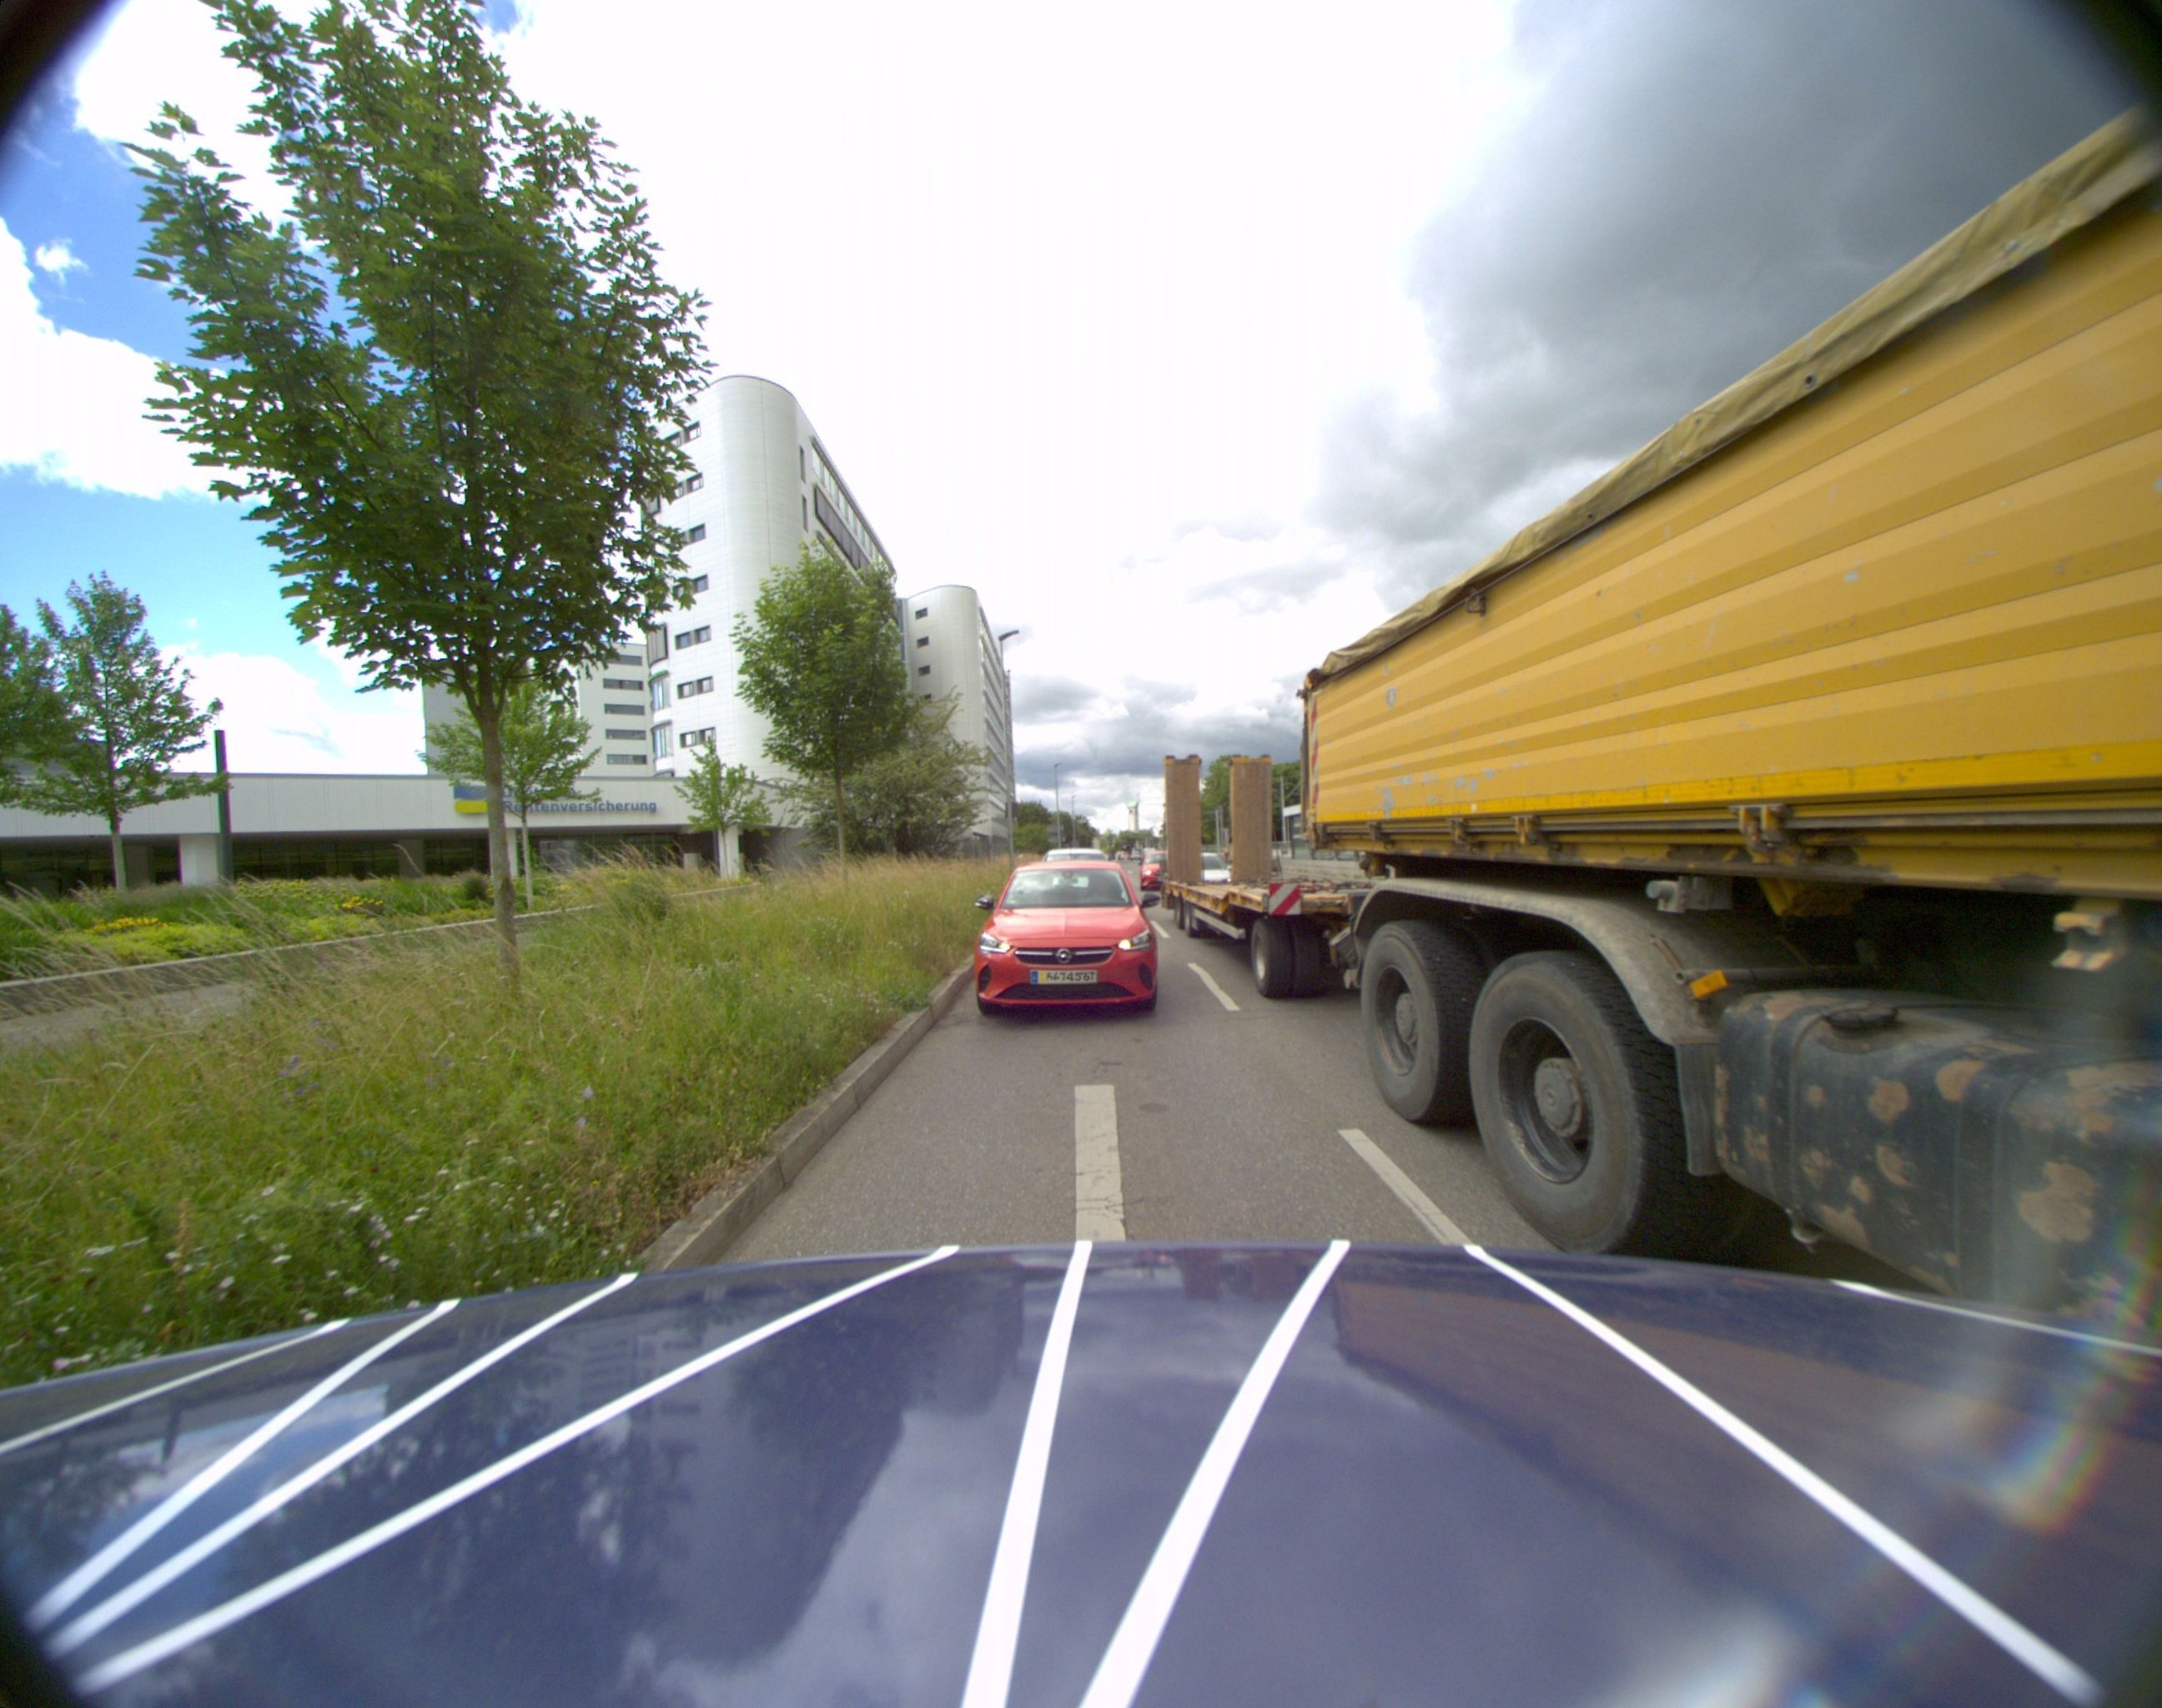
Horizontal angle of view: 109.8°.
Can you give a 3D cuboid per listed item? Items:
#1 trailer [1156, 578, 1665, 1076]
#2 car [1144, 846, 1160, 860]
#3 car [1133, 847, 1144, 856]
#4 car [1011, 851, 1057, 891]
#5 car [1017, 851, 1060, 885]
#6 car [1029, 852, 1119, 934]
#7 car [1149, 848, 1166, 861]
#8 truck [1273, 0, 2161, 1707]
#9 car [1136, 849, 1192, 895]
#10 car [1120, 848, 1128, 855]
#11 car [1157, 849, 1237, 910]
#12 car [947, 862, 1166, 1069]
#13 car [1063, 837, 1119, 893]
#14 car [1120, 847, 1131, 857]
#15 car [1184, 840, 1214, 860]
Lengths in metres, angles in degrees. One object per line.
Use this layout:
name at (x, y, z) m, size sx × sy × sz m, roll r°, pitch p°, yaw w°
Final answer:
trailer at (2.925, -0.228, 10.964) m, size 2.713 × 3.501 × 10.914 m, roll -2°, pitch 1°, yaw 1°
car at (9.764, -0.172, 104.690) m, size 1.887 × 1.761 × 4.863 m, roll -2°, pitch 0°, yaw 1°
car at (9.699, -0.458, 128.684) m, size 1.644 × 1.489 × 3.553 m, roll -2°, pitch 0°, yaw 1°
car at (-1.990, 0.704, 33.083) m, size 1.738 × 1.565 × 3.445 m, roll -2°, pitch 0°, yaw 0°
car at (-2.064, 0.645, 37.981) m, size 1.850 × 1.565 × 4.623 m, roll -2°, pitch 0°, yaw 0°
car at (-0.134, 0.778, 16.984) m, size 1.738 × 1.565 × 3.445 m, roll -2°, pitch 0°, yaw 0°
car at (9.273, 0.043, 91.882) m, size 1.705 × 1.449 × 3.566 m, roll -2°, pitch 0°, yaw 1°
truck at (2.740, 0.139, 1.640) m, size 2.727 × 2.986 × 7.777 m, roll -2°, pitch 1°, yaw 1°
car at (3.081, 0.628, 28.758) m, size 1.692 × 1.471 × 3.999 m, roll -2°, pitch 1°, yaw 1°
car at (10.142, -0.533, 180.528) m, size 1.770 × 1.489 × 3.553 m, roll -2°, pitch 0°, yaw 1°
car at (3.221, 0.653, 21.749) m, size 1.692 × 1.471 × 3.999 m, roll -2°, pitch 1°, yaw 1°
car at (-0.153, 0.918, 8.074) m, size 1.692 × 1.471 × 3.999 m, roll -2°, pitch 1°, yaw 1°
car at (0.412, 0.407, 30.088) m, size 1.998 × 2.002 × 4.000 m, roll -2°, pitch 0°, yaw 1°
car at (8.909, -0.389, 153.827) m, size 1.998 × 2.002 × 4.000 m, roll -2°, pitch 0°, yaw 1°
car at (9.235, -0.290, 59.502) m, size 1.781 × 1.461 × 4.044 m, roll -2°, pitch 0°, yaw 2°
